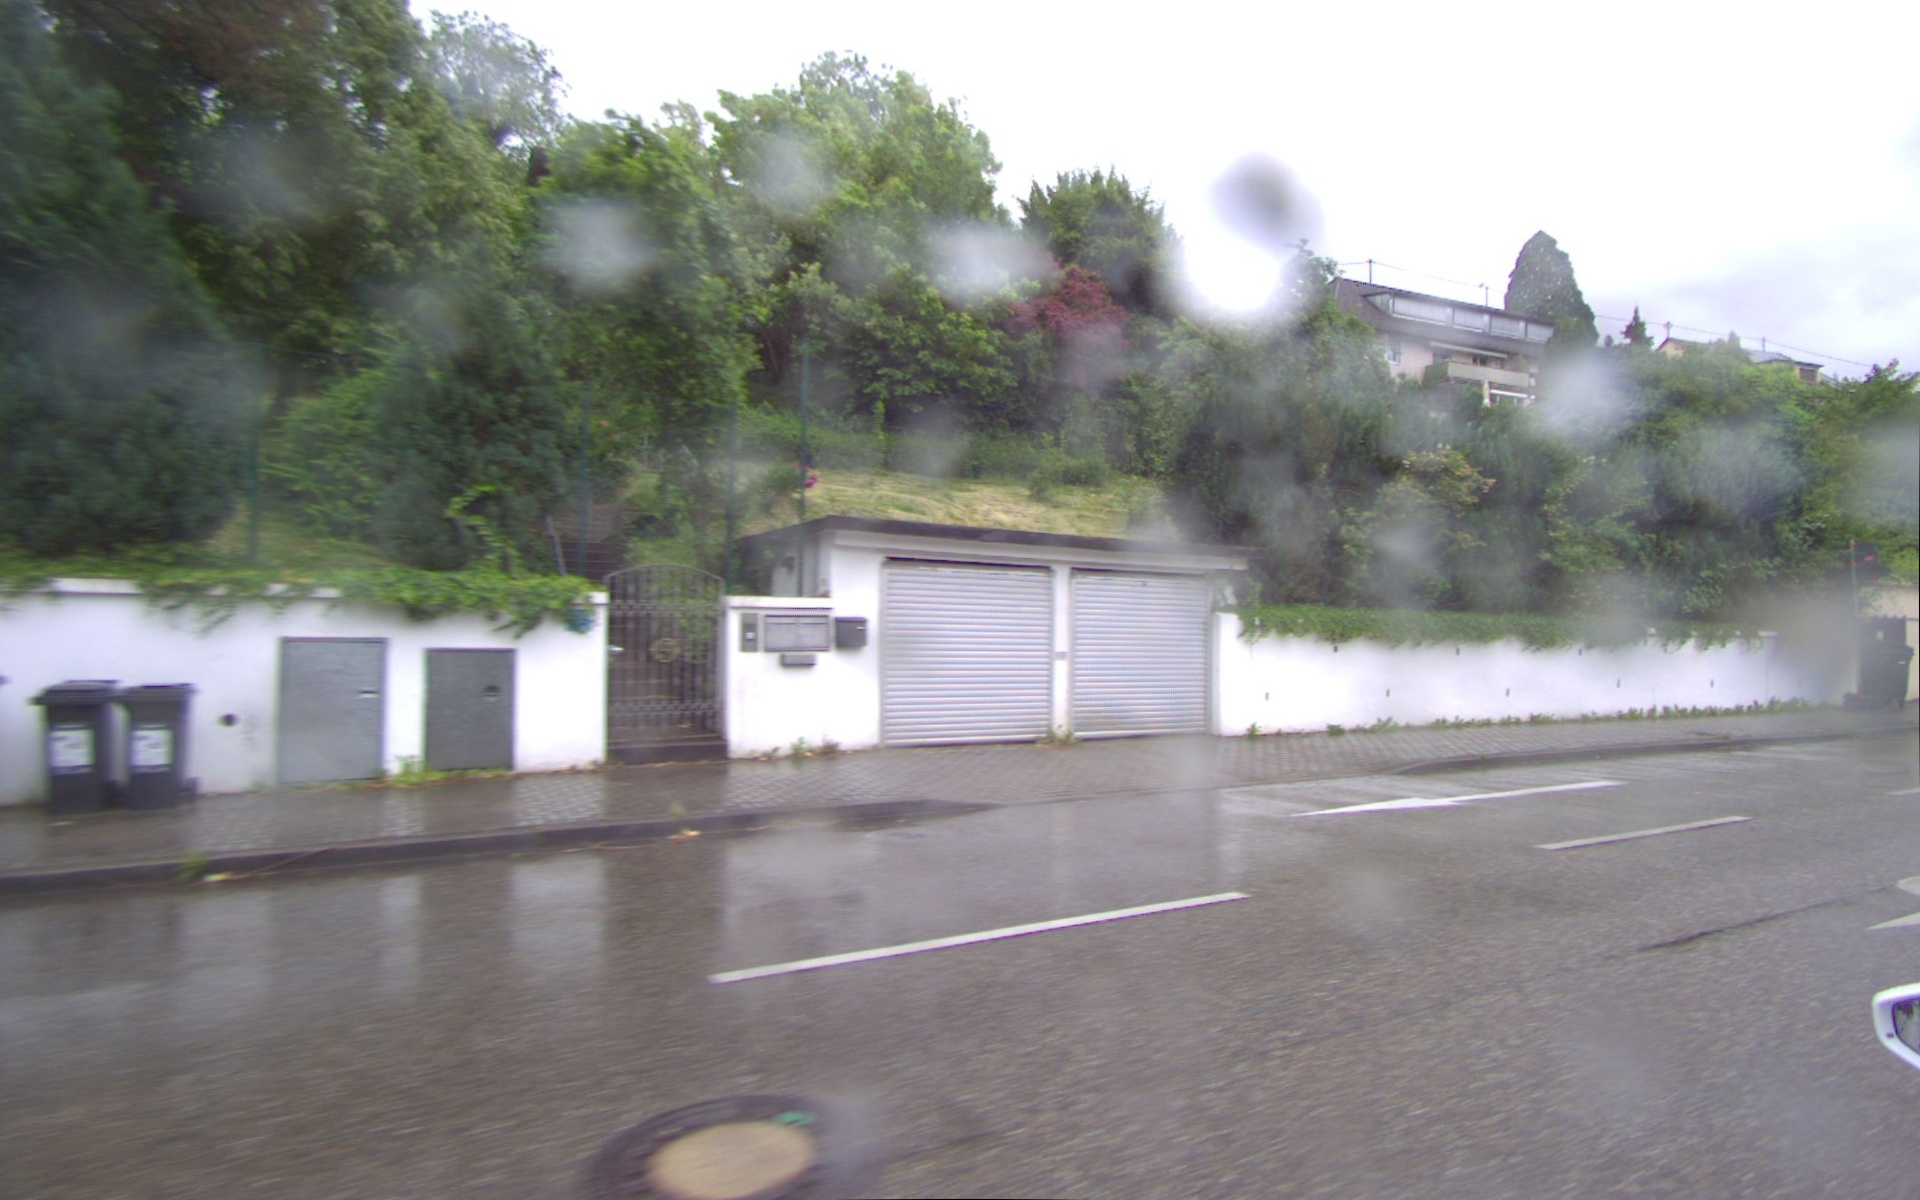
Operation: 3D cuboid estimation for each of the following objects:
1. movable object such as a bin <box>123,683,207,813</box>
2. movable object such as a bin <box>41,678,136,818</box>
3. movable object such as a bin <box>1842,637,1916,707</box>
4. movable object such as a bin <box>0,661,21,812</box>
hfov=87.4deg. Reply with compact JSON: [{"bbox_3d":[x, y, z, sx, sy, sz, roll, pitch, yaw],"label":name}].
[{"bbox_3d":[-6.072,1.110,7.691,0.411,0.910,0.528,2,-1,-30],"label":"movable object such as a bin"},{"bbox_3d":[-6.469,1.079,7.474,0.411,0.952,0.540,2,-1,-30],"label":"movable object such as a bin"},{"bbox_3d":[20.410,1.594,22.319,0.851,1.464,0.928,3,1,-29],"label":"movable object such as a bin"},{"bbox_3d":[-7.108,0.971,7.008,0.649,1.054,0.678,2,-1,-30],"label":"movable object such as a bin"}]
